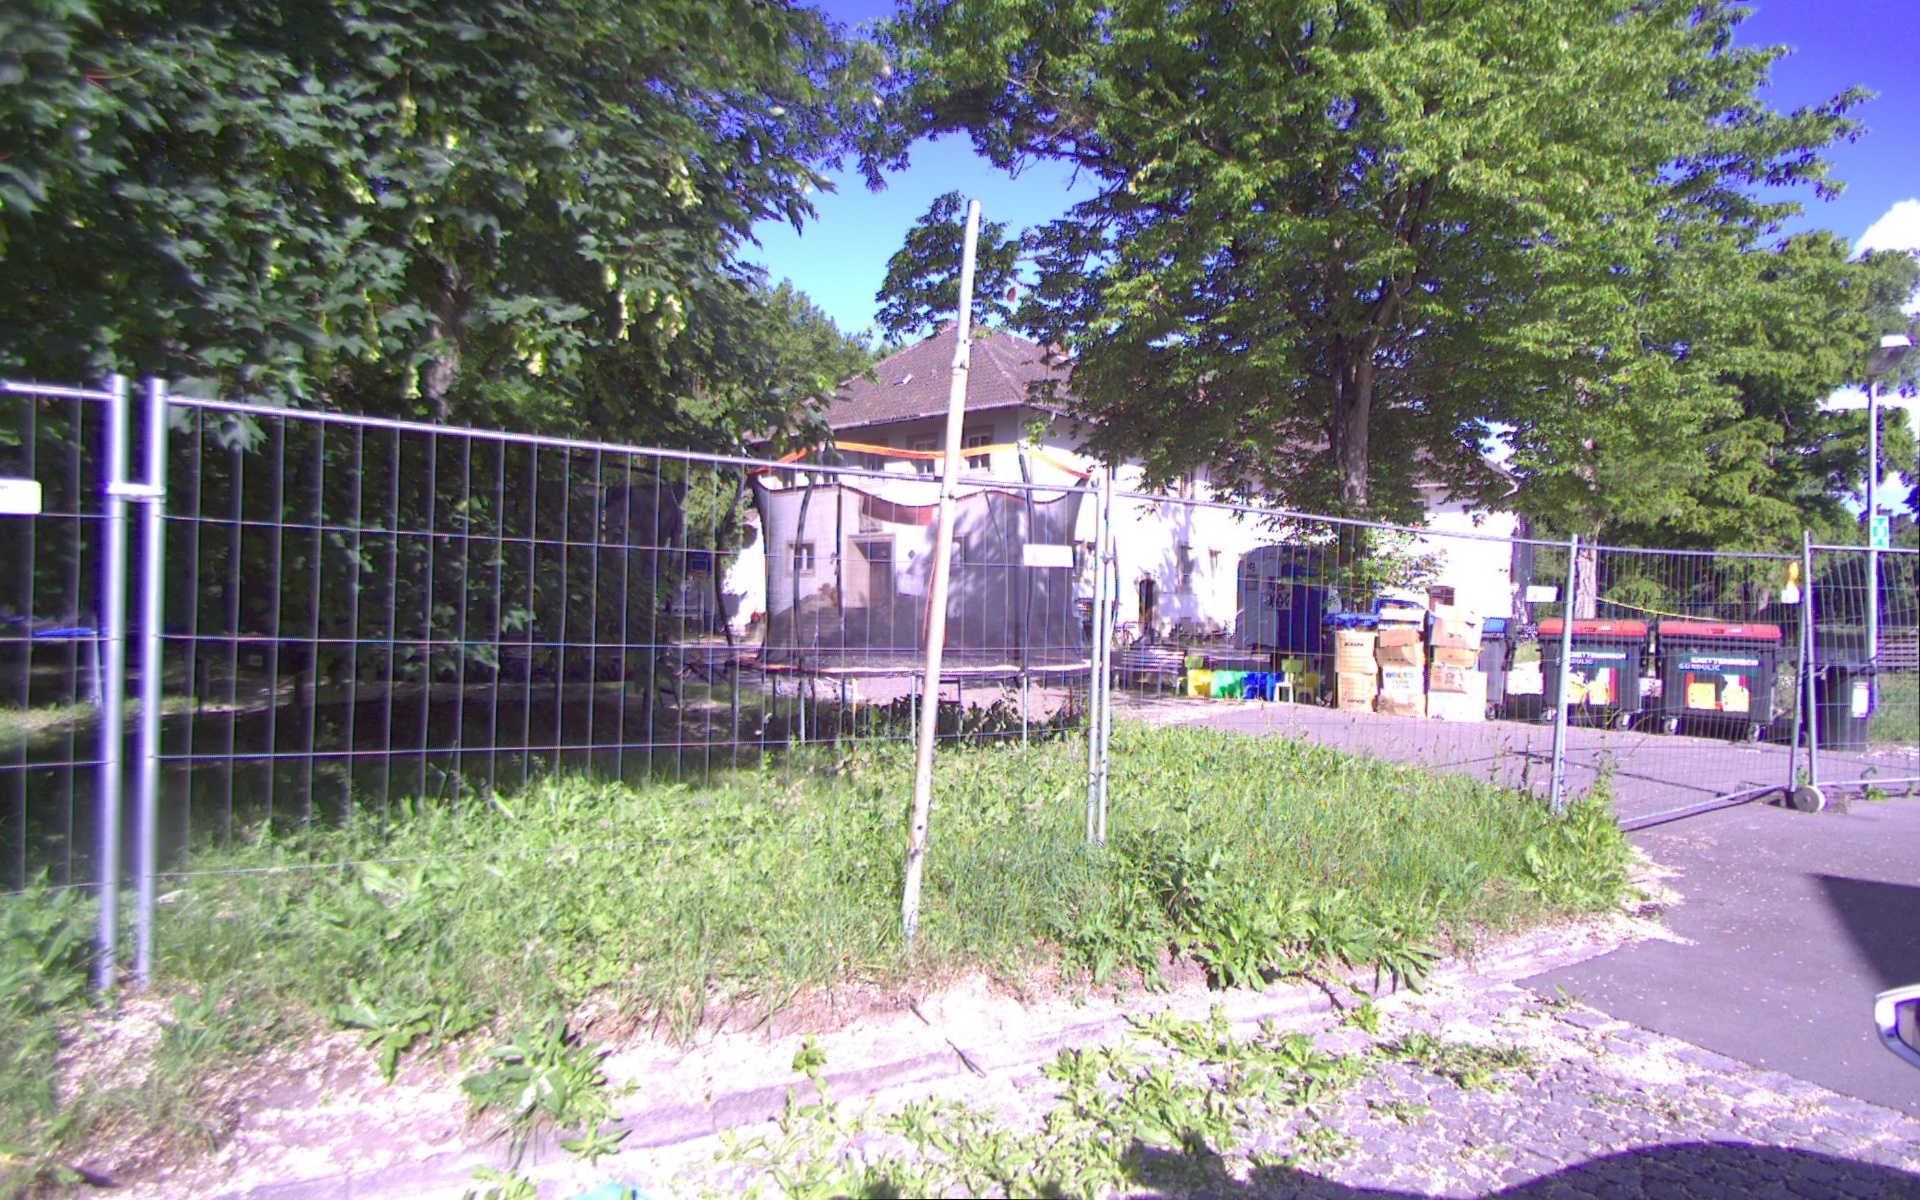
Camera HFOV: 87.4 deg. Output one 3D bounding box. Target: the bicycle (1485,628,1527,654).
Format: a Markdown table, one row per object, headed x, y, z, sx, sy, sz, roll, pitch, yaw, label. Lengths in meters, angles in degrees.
| x | y | z | sx | sy | sz | roll | pitch | yaw | label |
| --- | --- | --- | --- | --- | --- | --- | --- | --- | --- |
| 21.399 | 1.606 | 39.369 | 1.413 | 0.997 | 0.260 | 0 | -1 | 39 | bicycle |

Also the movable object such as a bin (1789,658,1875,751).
| x | y | z | sx | sy | sz | roll | pitch | yaw | label |
| --- | --- | --- | --- | --- | --- | --- | --- | --- | --- |
| 10.315 | 1.216 | 11.887 | 0.599 | 1.020 | 0.637 | 1 | -1 | -35 | movable object such as a bin |

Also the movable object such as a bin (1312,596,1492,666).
| x | y | z | sx | sy | sz | roll | pitch | yaw | label |
| --- | --- | --- | --- | --- | --- | --- | --- | --- | --- |
| 13.654 | 0.911 | 31.164 | 4.811 | 1.996 | 1.925 | 0 | -1 | 38 | movable object such as a bin |

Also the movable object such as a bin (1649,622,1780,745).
| x | y | z | sx | sy | sz | roll | pitch | yaw | label |
| --- | --- | --- | --- | --- | --- | --- | --- | --- | --- |
| 9.545 | 1.017 | 12.755 | 1.271 | 1.445 | 1.029 | 0 | -1 | 36 | movable object such as a bin |

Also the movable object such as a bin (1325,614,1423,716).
| x | y | z | sx | sy | sz | roll | pitch | yaw | label |
| --- | --- | --- | --- | --- | --- | --- | --- | --- | --- |
| 6.247 | 0.943 | 15.140 | 1.072 | 1.457 | 1.050 | 0 | -1 | 42 | movable object such as a bin |

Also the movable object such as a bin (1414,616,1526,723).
| x | y | z | sx | sy | sz | roll | pitch | yaw | label |
| --- | --- | --- | --- | --- | --- | --- | --- | --- | --- |
| 7.373 | 0.965 | 14.527 | 1.271 | 1.445 | 1.028 | 0 | -1 | 38 | movable object such as a bin |

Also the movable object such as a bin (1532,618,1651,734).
| x | y | z | sx | sy | sz | roll | pitch | yaw | label |
| --- | --- | --- | --- | --- | --- | --- | --- | --- | --- |
| 8.516 | 0.982 | 13.549 | 1.271 | 1.445 | 1.028 | 0 | -1 | 38 | movable object such as a bin |
